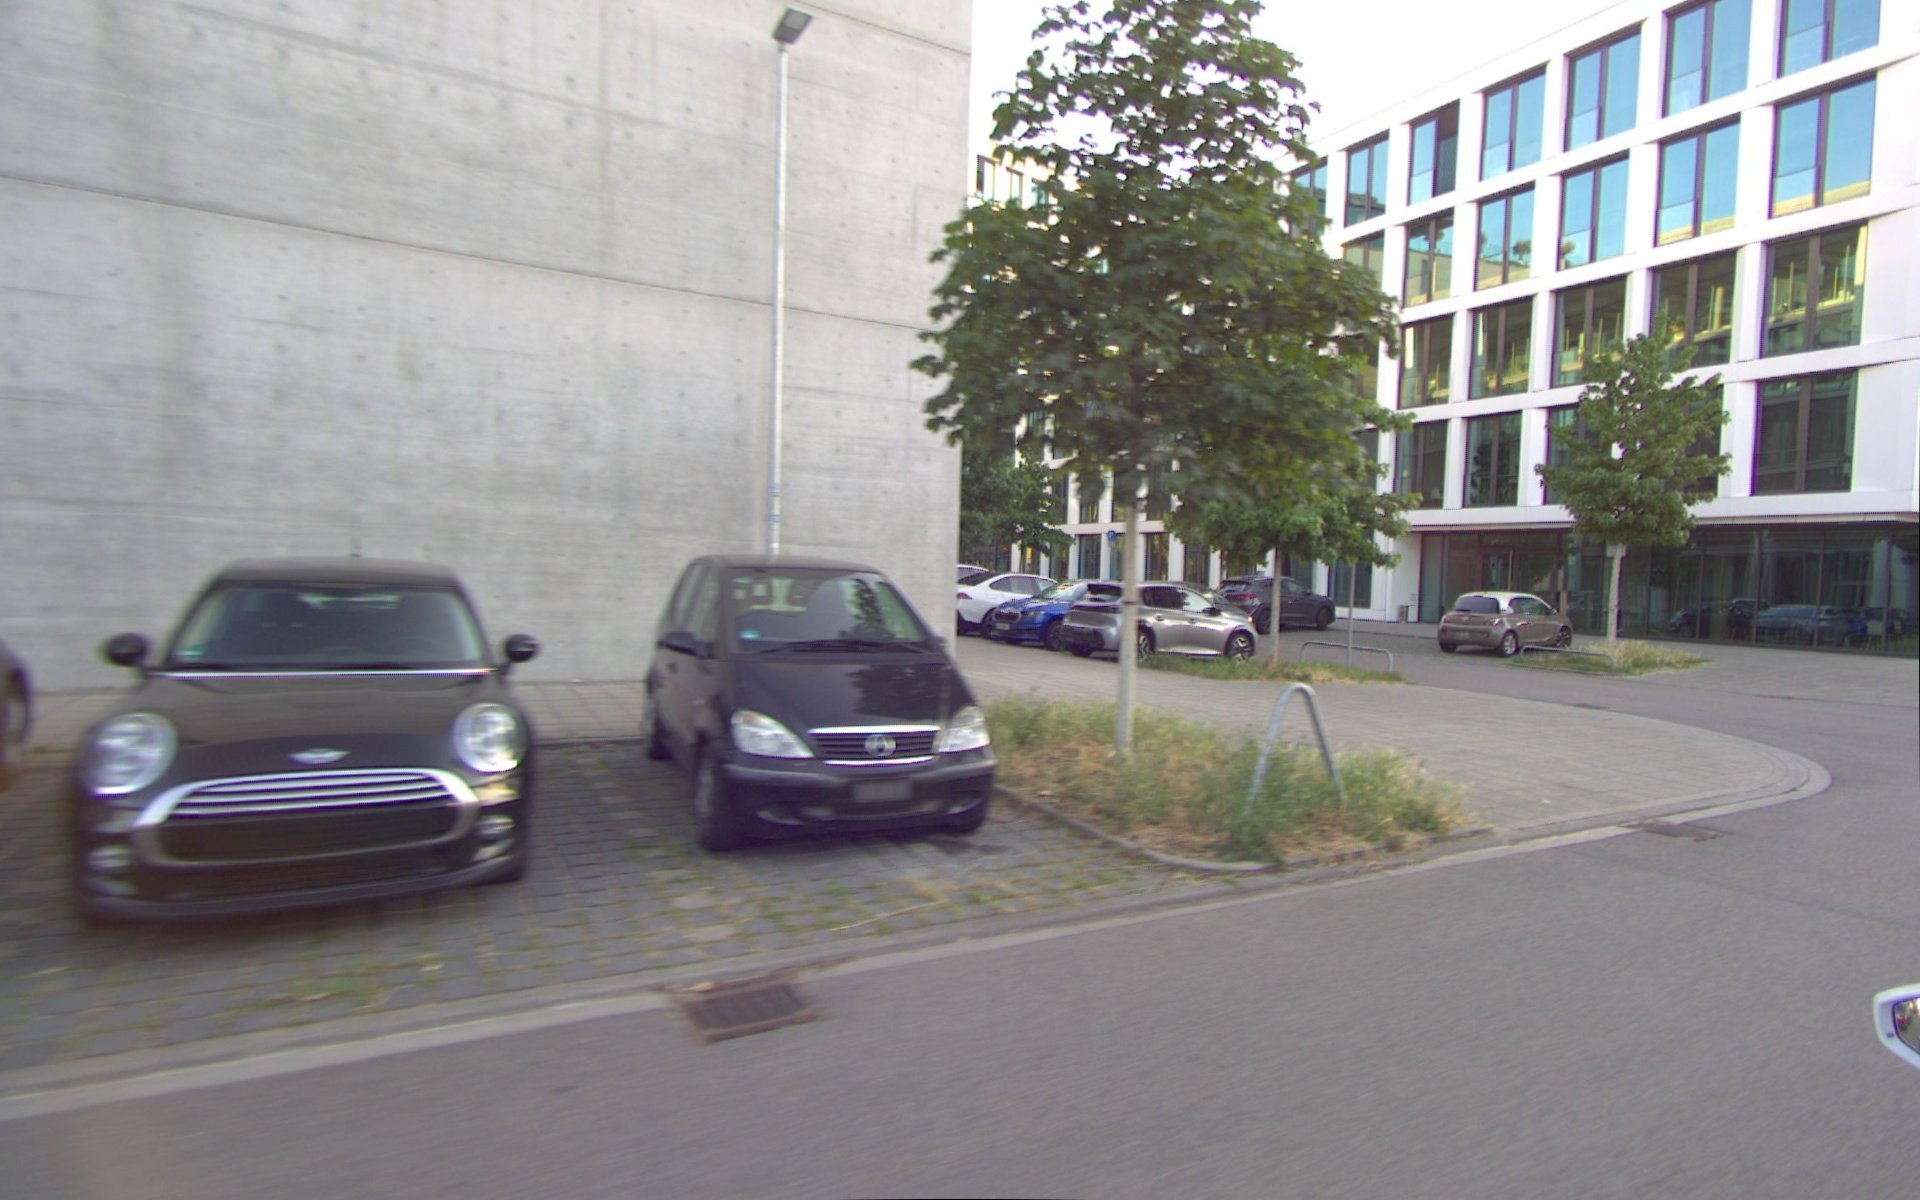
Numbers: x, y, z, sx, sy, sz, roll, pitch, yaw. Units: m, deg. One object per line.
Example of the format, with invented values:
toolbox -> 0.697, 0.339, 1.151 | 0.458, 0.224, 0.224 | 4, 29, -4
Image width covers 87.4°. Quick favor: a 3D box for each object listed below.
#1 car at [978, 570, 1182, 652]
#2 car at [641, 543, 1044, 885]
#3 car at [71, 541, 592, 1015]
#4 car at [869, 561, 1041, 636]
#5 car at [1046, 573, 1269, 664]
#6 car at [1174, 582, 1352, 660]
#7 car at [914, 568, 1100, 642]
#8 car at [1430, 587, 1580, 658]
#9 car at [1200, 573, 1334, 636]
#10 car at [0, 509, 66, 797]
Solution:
car -> 2.515, 0.249, 20.844 | 3.889, 1.506, 1.771 | 2, 1, -31
car -> -1.068, 0.483, 6.864 | 1.639, 1.598, 3.623 | 1, 4, -25
car -> -3.197, 0.515, 5.436 | 1.632, 1.509, 3.867 | 1, 4, -30
car -> -0.106, -0.028, 24.953 | 3.889, 1.668, 1.771 | 2, 1, -31
car -> 3.711, 0.355, 18.737 | 3.889, 1.506, 1.771 | 2, 1, -31
car -> 6.865, 0.403, 23.105 | 1.747, 1.566, 3.732 | 0, 2, -30
car -> 1.096, 0.126, 22.907 | 3.889, 1.506, 1.771 | 2, 1, -31
car -> 13.420, 0.498, 24.693 | 3.510, 1.506, 1.713 | -2, 3, -31
car -> 9.432, 0.088, 30.822 | 4.011, 1.740, 1.713 | -2, 3, -31
car -> -5.453, 0.350, 4.237 | 1.586, 1.543, 3.970 | 2, 4, -28
